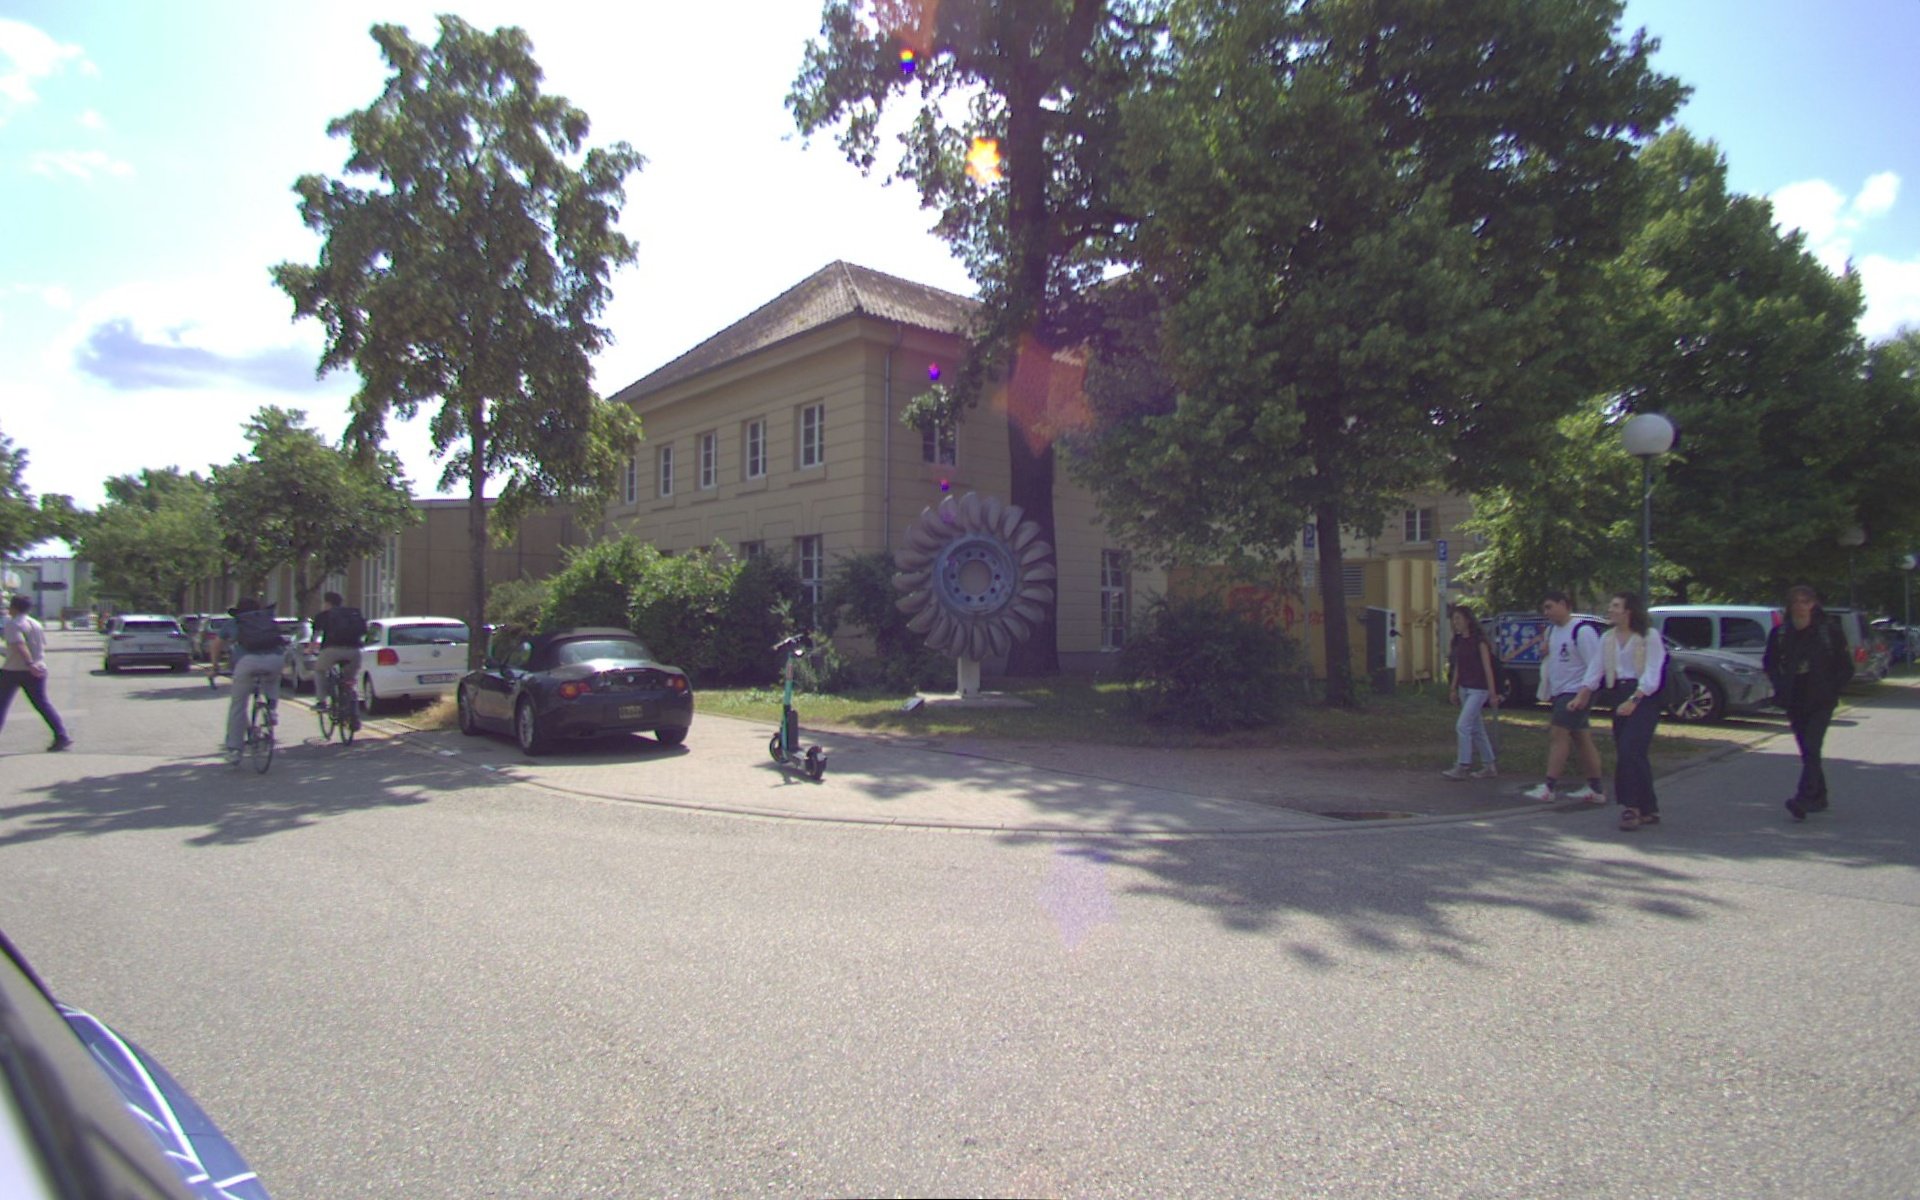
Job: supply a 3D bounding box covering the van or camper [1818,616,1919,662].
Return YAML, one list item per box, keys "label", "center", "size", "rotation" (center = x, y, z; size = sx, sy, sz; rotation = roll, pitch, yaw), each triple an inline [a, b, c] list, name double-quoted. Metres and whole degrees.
- label: "van or camper"
  center: [41.485, 1.737, 45.609]
  size: [1.785, 1.900, 4.088]
  rotation: [1, -1, -42]

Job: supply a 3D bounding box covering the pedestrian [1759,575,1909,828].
- label: "pedestrian"
  center: [6.615, 0.733, 7.666]
  size: [0.858, 1.800, 0.570]
  rotation: [1, -2, -30]

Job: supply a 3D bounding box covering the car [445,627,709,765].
- label: "car"
  center: [-4.540, 0.968, 11.682]
  size: [1.675, 1.305, 3.768]
  rotation: [1, -2, -40]

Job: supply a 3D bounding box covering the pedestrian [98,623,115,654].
- label: "pedestrian"
  center: [-47.006, 2.124, 55.717]
  size: [0.528, 1.694, 0.587]
  rotation: [1, -2, -22]

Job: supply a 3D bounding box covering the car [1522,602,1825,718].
- label: "car"
  center: [12.618, 0.964, 18.092]
  size: [1.785, 1.799, 4.130]
  rotation: [1, -1, -42]

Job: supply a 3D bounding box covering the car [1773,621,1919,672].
- label: "car"
  center: [32.304, 1.643, 36.721]
  size: [1.785, 1.679, 4.130]
  rotation: [1, -1, -42]

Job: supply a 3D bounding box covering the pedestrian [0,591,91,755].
- label: "pedestrian"
  center: [-10.948, 0.817, 11.604]
  size: [1.079, 1.800, 0.983]
  rotation: [0, -2, -1]

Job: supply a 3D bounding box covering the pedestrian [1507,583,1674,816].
- label: "pedestrian"
  center: [5.155, 0.779, 8.314]
  size: [0.885, 1.800, 0.728]
  rotation: [0, -1, -13]

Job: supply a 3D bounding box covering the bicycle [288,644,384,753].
- label: "bicycle"
  center: [-7.438, 1.123, 12.028]
  size: [0.617, 1.150, 1.814]
  rotation: [1, -2, -43]

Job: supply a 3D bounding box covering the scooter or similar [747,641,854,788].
- label: "scooter or similar"
  center: [-1.479, 0.996, 9.250]
  size: [0.463, 1.225, 1.207]
  rotation: [1, -2, -36]

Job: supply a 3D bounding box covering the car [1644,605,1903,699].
- label: "car"
  center: [19.257, 1.150, 24.141]
  size: [1.783, 1.974, 4.537]
  rotation: [1, -1, -38]

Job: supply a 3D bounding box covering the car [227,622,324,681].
- label: "car"
  center: [-18.337, 1.318, 27.037]
  size: [1.692, 1.444, 4.006]
  rotation: [1, -1, -40]

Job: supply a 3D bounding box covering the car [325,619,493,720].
- label: "car"
  center: [-8.990, 1.028, 16.391]
  size: [1.611, 1.442, 3.638]
  rotation: [1, -1, -41]

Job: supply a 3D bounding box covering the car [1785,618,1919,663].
- label: "car"
  center: [34.827, 1.539, 39.299]
  size: [1.785, 1.553, 4.130]
  rotation: [1, -1, -42]

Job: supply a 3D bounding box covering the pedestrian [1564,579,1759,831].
- label: "pedestrian"
  center: [5.093, 0.733, 7.379]
  size: [0.989, 1.729, 0.623]
  rotation: [0, -2, -12]

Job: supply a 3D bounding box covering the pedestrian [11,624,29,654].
- label: "pedestrian"
  center: [-45.351, 1.870, 48.829]
  size: [0.576, 1.453, 0.639]
  rotation: [2, -3, -40]

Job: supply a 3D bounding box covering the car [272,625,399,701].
- label: "car"
  center: [-12.883, 1.209, 20.773]
  size: [1.623, 1.387, 4.006]
  rotation: [1, -1, -40]

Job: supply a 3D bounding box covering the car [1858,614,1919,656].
- label: "car"
  center: [46.849, 1.717, 49.587]
  size: [1.785, 1.958, 4.130]
  rotation: [1, -1, -42]

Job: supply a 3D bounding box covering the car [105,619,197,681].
- label: "car"
  center: [-23.248, 1.372, 29.032]
  size: [1.904, 1.646, 4.379]
  rotation: [1, -1, -40]

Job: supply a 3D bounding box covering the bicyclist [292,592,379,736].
- label: "bicyclist"
  center: [-7.473, 0.732, 12.090]
  size: [0.621, 1.618, 1.330]
  rotation: [1, -2, -43]

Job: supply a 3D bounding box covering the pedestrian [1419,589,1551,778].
- label: "pedestrian"
  center: [4.991, 0.769, 9.648]
  size: [0.957, 1.729, 0.559]
  rotation: [0, -1, -12]

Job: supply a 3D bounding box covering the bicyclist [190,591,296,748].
- label: "bicyclist"
  center: [-7.149, 0.660, 10.075]
  size: [1.233, 1.464, 0.580]
  rotation: [-1, -2, 42]

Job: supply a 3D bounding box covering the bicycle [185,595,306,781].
- label: "bicycle"
  center: [-7.111, 0.820, 10.048]
  size: [1.758, 1.693, 0.580]
  rotation: [-1, -2, 42]

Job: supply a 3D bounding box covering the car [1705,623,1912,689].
- label: "car"
  center: [23.006, 1.451, 27.552]
  size: [1.785, 1.553, 4.130]
  rotation: [1, -1, -42]

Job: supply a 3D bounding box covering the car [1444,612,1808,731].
- label: "car"
  center: [10.667, 1.033, 16.510]
  size: [1.871, 1.593, 4.656]
  rotation: [1, -1, -42]

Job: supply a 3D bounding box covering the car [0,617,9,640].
- label: "car"
  center: [-73.737, 2.152, 76.977]
  size: [1.970, 1.670, 4.004]
  rotation: [1, -2, -43]

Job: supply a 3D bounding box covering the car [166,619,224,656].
- label: "car"
  center: [-35.934, 1.708, 47.514]
  size: [1.904, 1.646, 4.379]
  rotation: [1, -1, -40]
